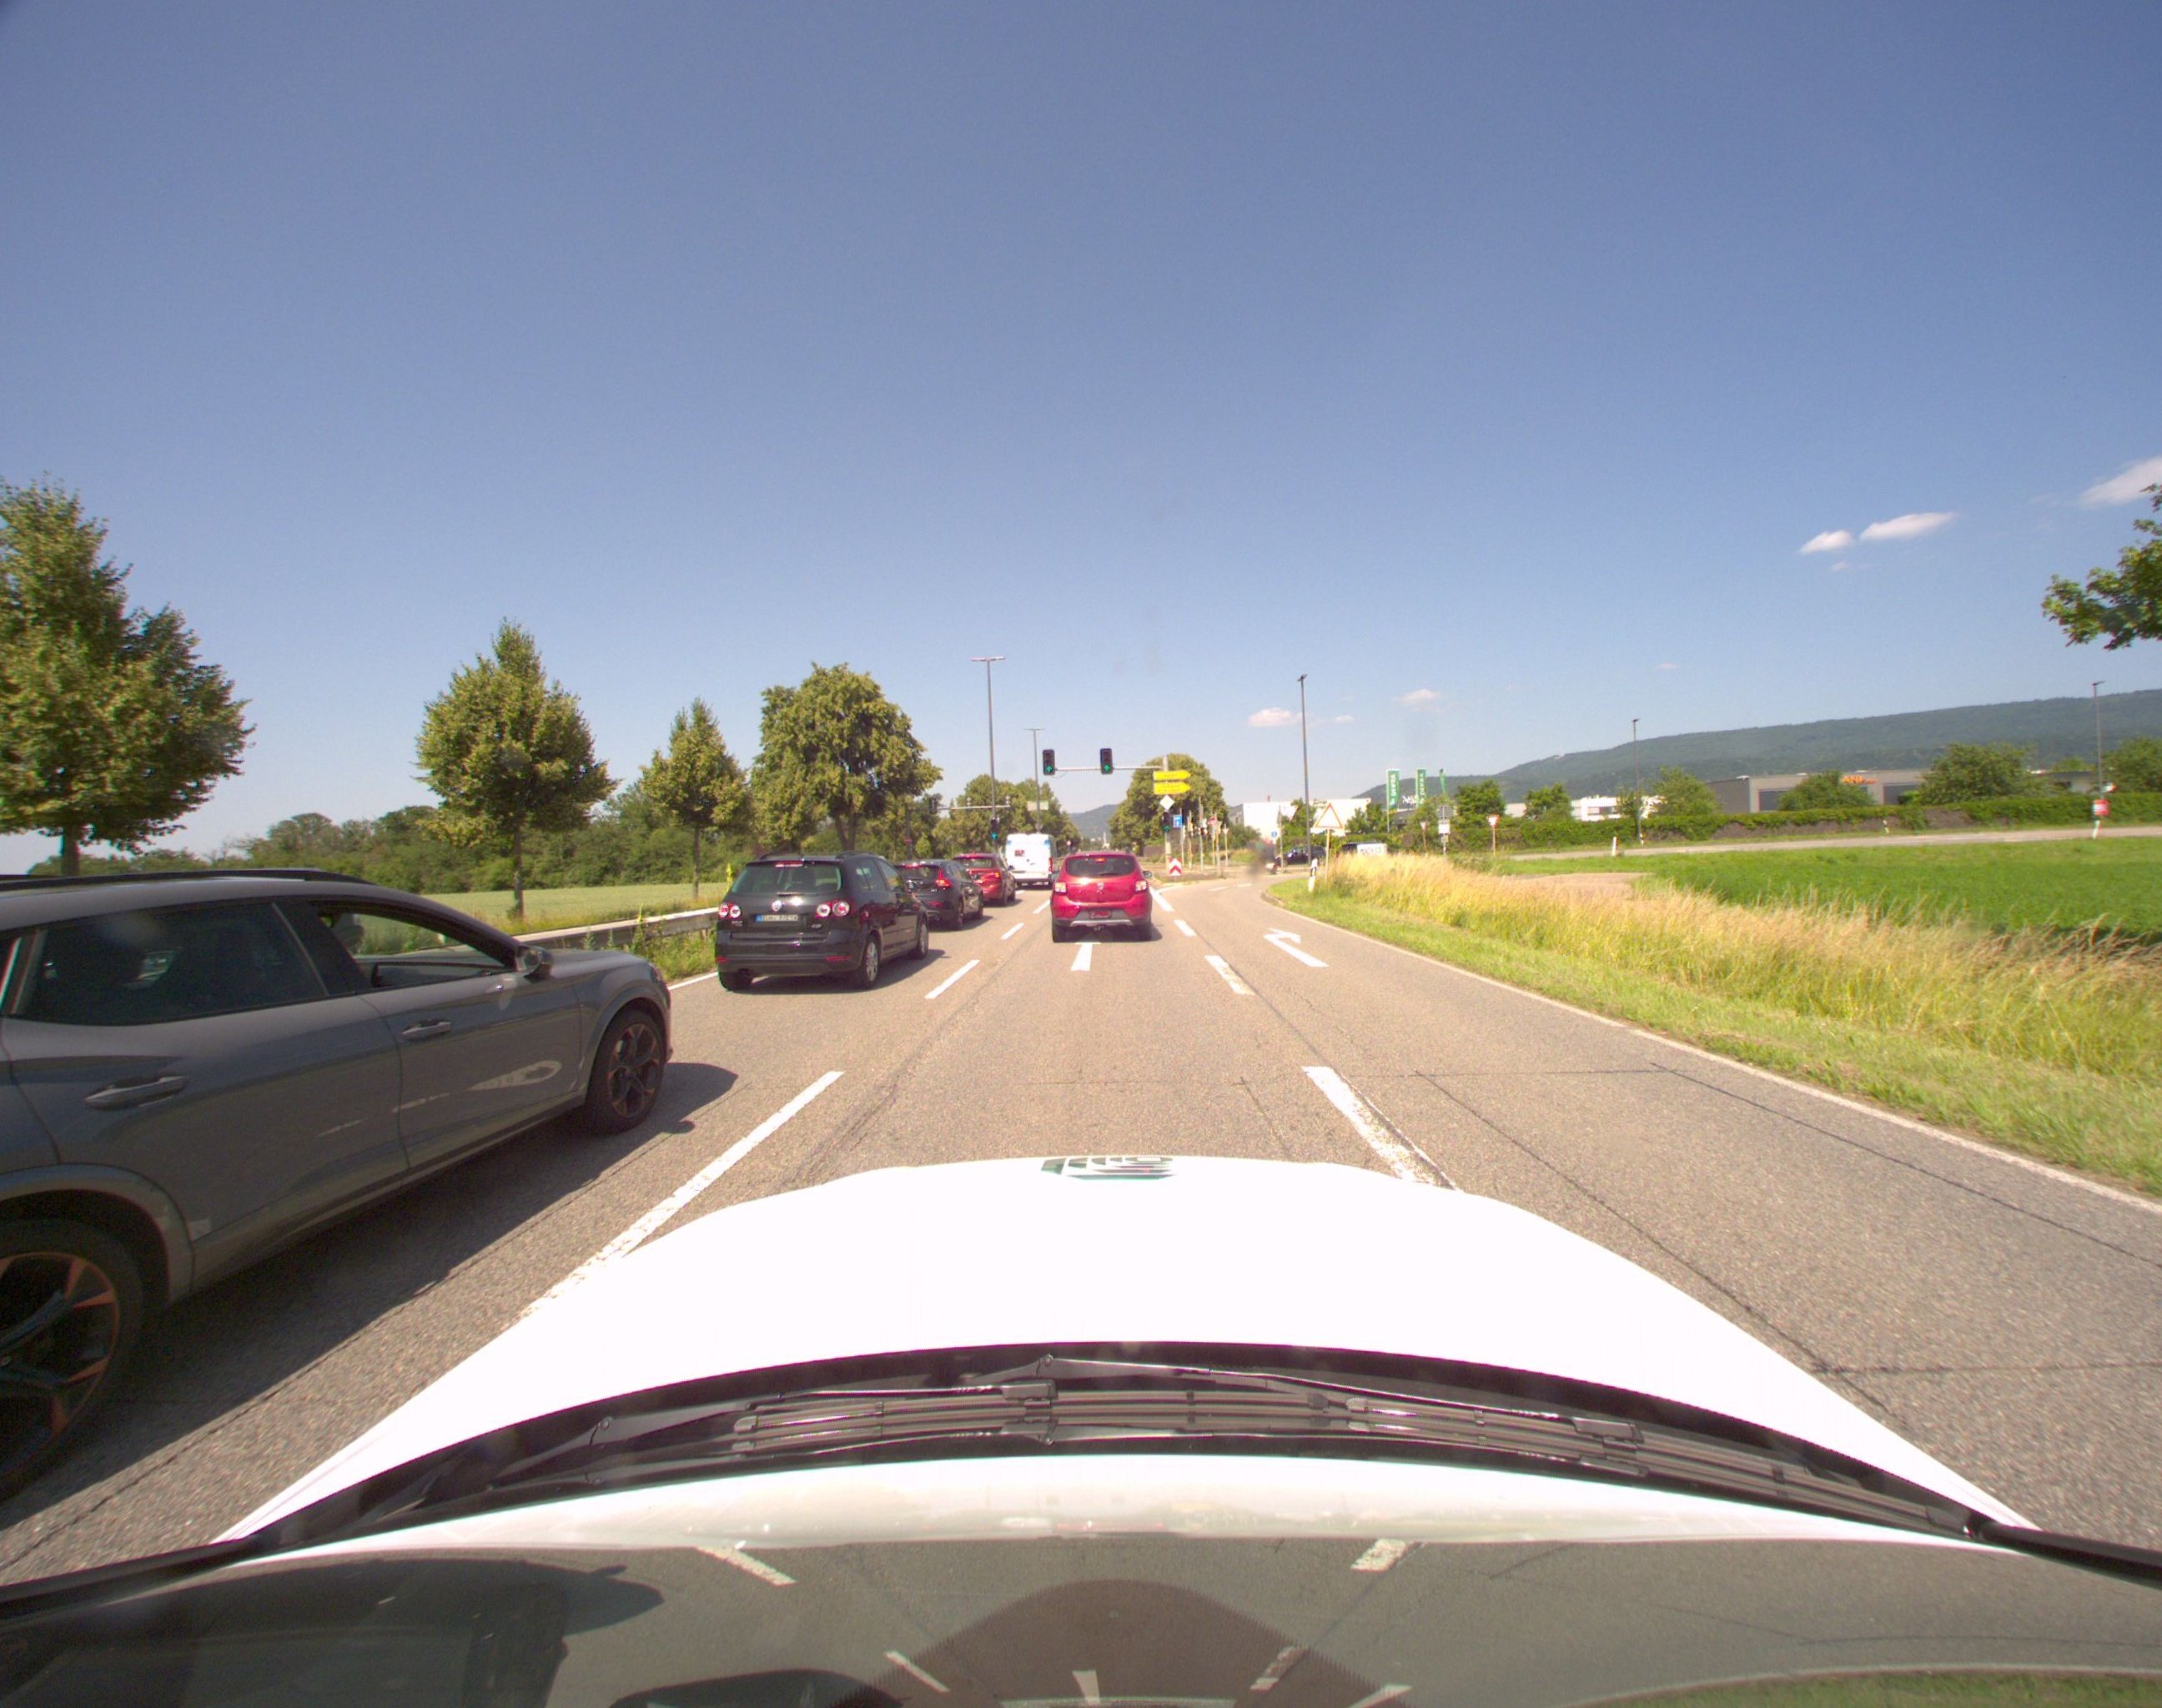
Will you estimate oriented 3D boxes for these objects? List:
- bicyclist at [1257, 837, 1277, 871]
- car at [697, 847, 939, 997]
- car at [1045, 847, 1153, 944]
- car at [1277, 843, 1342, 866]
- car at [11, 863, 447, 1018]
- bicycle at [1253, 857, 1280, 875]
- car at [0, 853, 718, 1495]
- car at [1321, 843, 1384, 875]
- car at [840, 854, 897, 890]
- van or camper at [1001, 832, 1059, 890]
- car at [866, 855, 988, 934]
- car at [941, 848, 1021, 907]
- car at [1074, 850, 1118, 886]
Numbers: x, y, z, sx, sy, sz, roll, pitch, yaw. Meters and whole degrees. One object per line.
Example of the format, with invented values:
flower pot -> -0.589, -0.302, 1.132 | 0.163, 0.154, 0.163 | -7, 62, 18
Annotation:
bicyclist -> 10.096, -0.014, 44.275 | 0.800, 1.771, 0.808 | -2, 0, -3
car -> -3.156, 0.712, 10.650 | 1.716, 1.575, 3.895 | -1, 0, 2
car -> 0.407, 0.677, 15.208 | 1.742, 1.575, 3.680 | -1, 0, 3
car -> 15.133, 0.033, 54.159 | 3.964, 1.327, 1.811 | -2, 0, 8
car -> -12.886, 1.146, 12.914 | 1.851, 1.855, 4.697 | -2, 0, 1
bicycle -> 10.083, 0.648, 44.343 | 0.759, 0.915, 2.778 | -2, 0, -2
car -> -3.398, 0.772, 3.335 | 1.739, 1.503, 4.364 | -1, 0, 2
car -> 14.772, 0.258, 44.165 | 1.974, 1.616, 4.367 | -1, 0, 36
car -> -12.720, 1.012, 49.103 | 1.987, 1.931, 5.016 | -2, 0, 1
van or camper -> -2.092, 0.275, 34.907 | 2.172, 2.302, 4.825 | -1, 0, 0
car -> -3.173, 0.774, 17.536 | 1.695, 1.442, 3.958 | -1, 1, 2
car -> -2.918, 0.639, 24.478 | 1.717, 1.600, 3.958 | -1, 0, 2
car -> 0.702, 0.584, 36.082 | 1.742, 1.458, 3.680 | -1, 0, 3
